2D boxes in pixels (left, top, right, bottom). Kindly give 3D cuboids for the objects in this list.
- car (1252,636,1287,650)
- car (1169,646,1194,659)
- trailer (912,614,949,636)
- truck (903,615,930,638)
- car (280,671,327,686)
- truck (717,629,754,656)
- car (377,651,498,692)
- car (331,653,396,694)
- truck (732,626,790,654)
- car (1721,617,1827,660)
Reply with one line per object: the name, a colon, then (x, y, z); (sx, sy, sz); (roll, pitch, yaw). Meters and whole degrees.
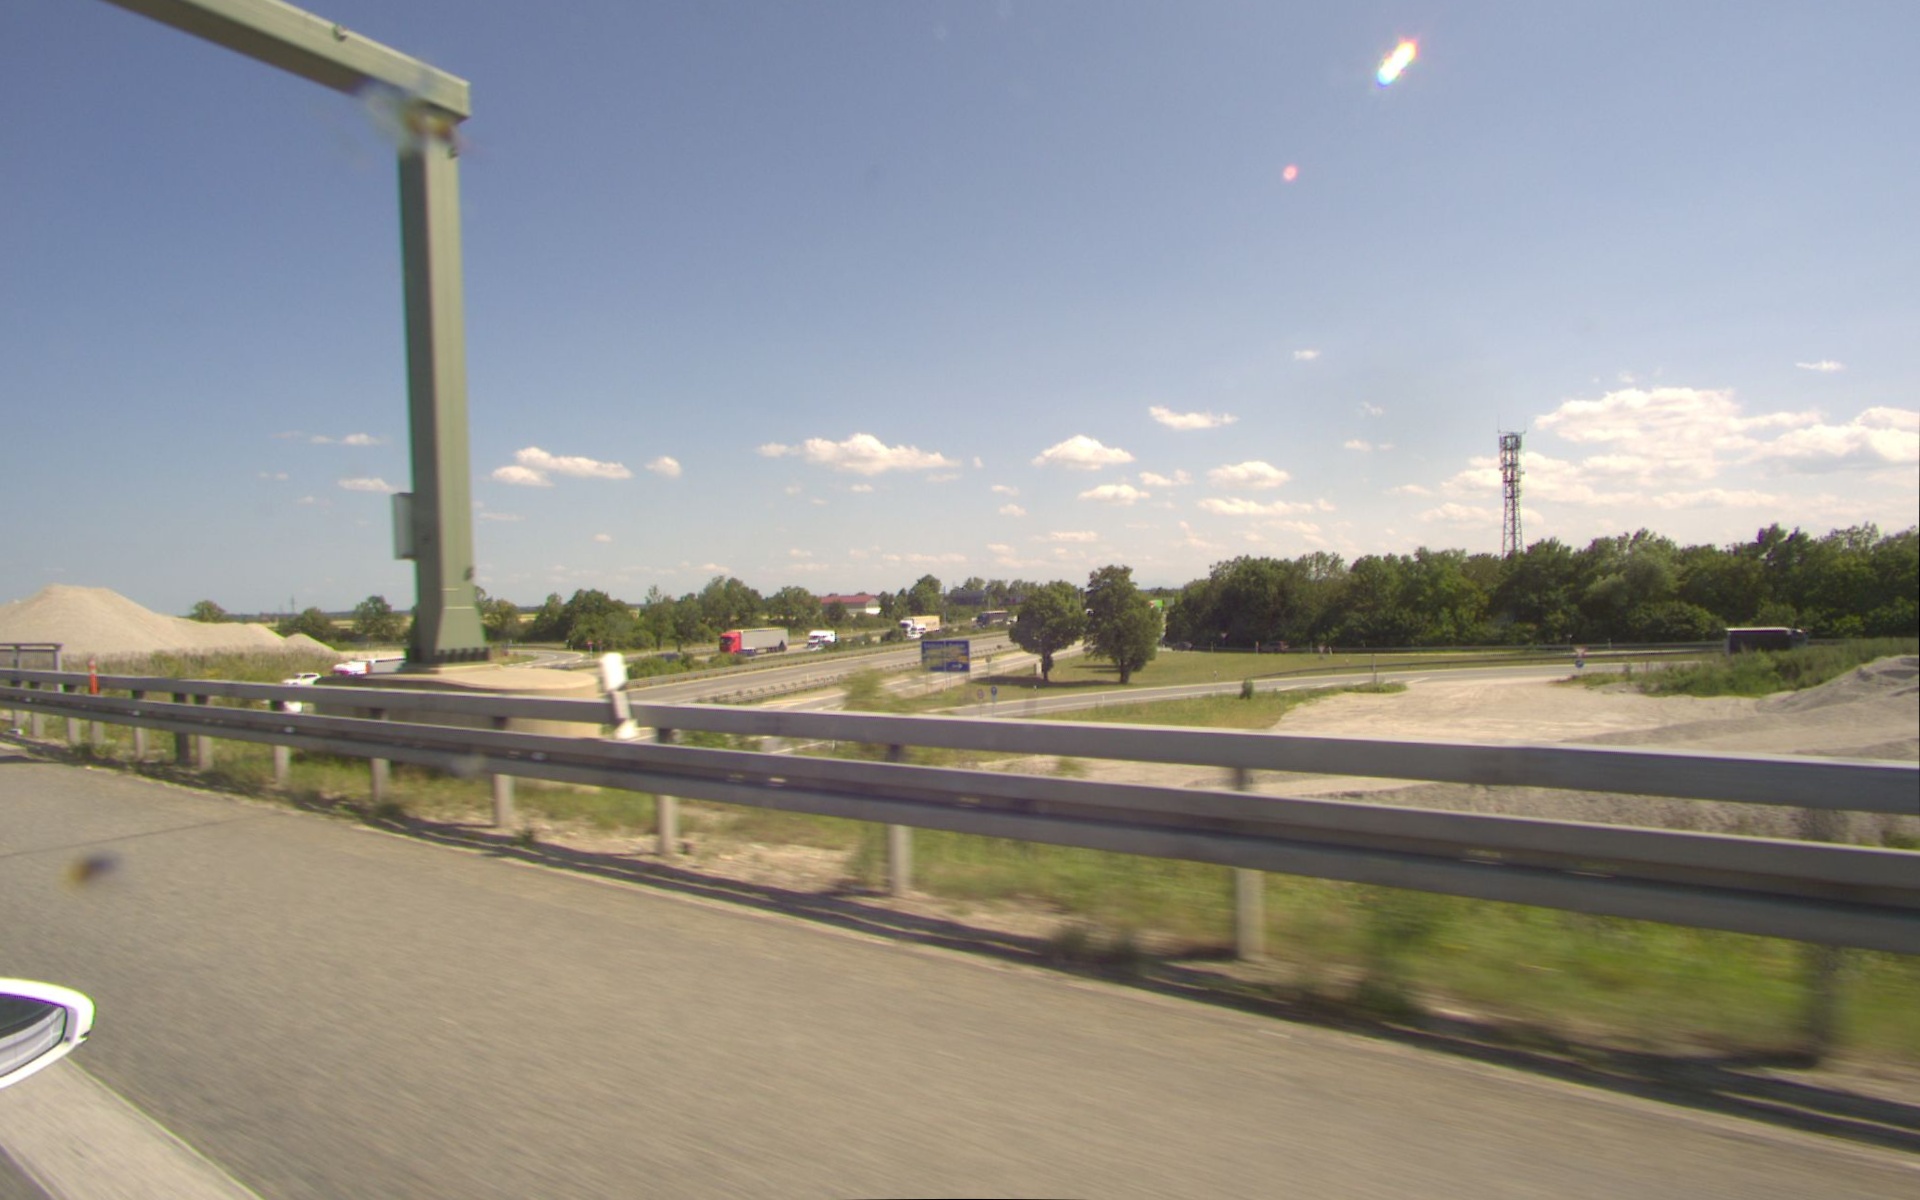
car: (42.508, 5.949, 137.563); (1.739, 1.827, 4.642); (3, -5, -34)
car: (34.383, 8.174, 155.382); (1.967, 1.793, 3.993); (2, -5, -21)
trailer: (-6.740, 5.783, 231.430); (3.098, 4.836, 14.409); (-1, -1, 21)
truck: (-9.697, 5.858, 223.825); (3.098, 4.837, 8.224); (-1, -1, 21)
car: (-75.301, 8.980, 114.867); (1.967, 1.629, 4.121); (-1, -5, 23)
truck: (-36.206, 6.845, 161.536); (2.822, 4.119, 5.938); (-1, 1, 23)
car: (-56.780, 7.666, 109.477); (2.442, 4.014, 12.978); (-1, -2, 24)
car: (-60.398, 7.378, 101.473); (2.442, 4.014, 5.146); (-1, -2, 24)
truck: (-33.345, 6.647, 168.337); (2.822, 4.119, 12.537); (-1, 1, 23)
car: (72.685, 3.529, 89.586); (6.968, 3.673, 1.994); (-2, -4, 27)
